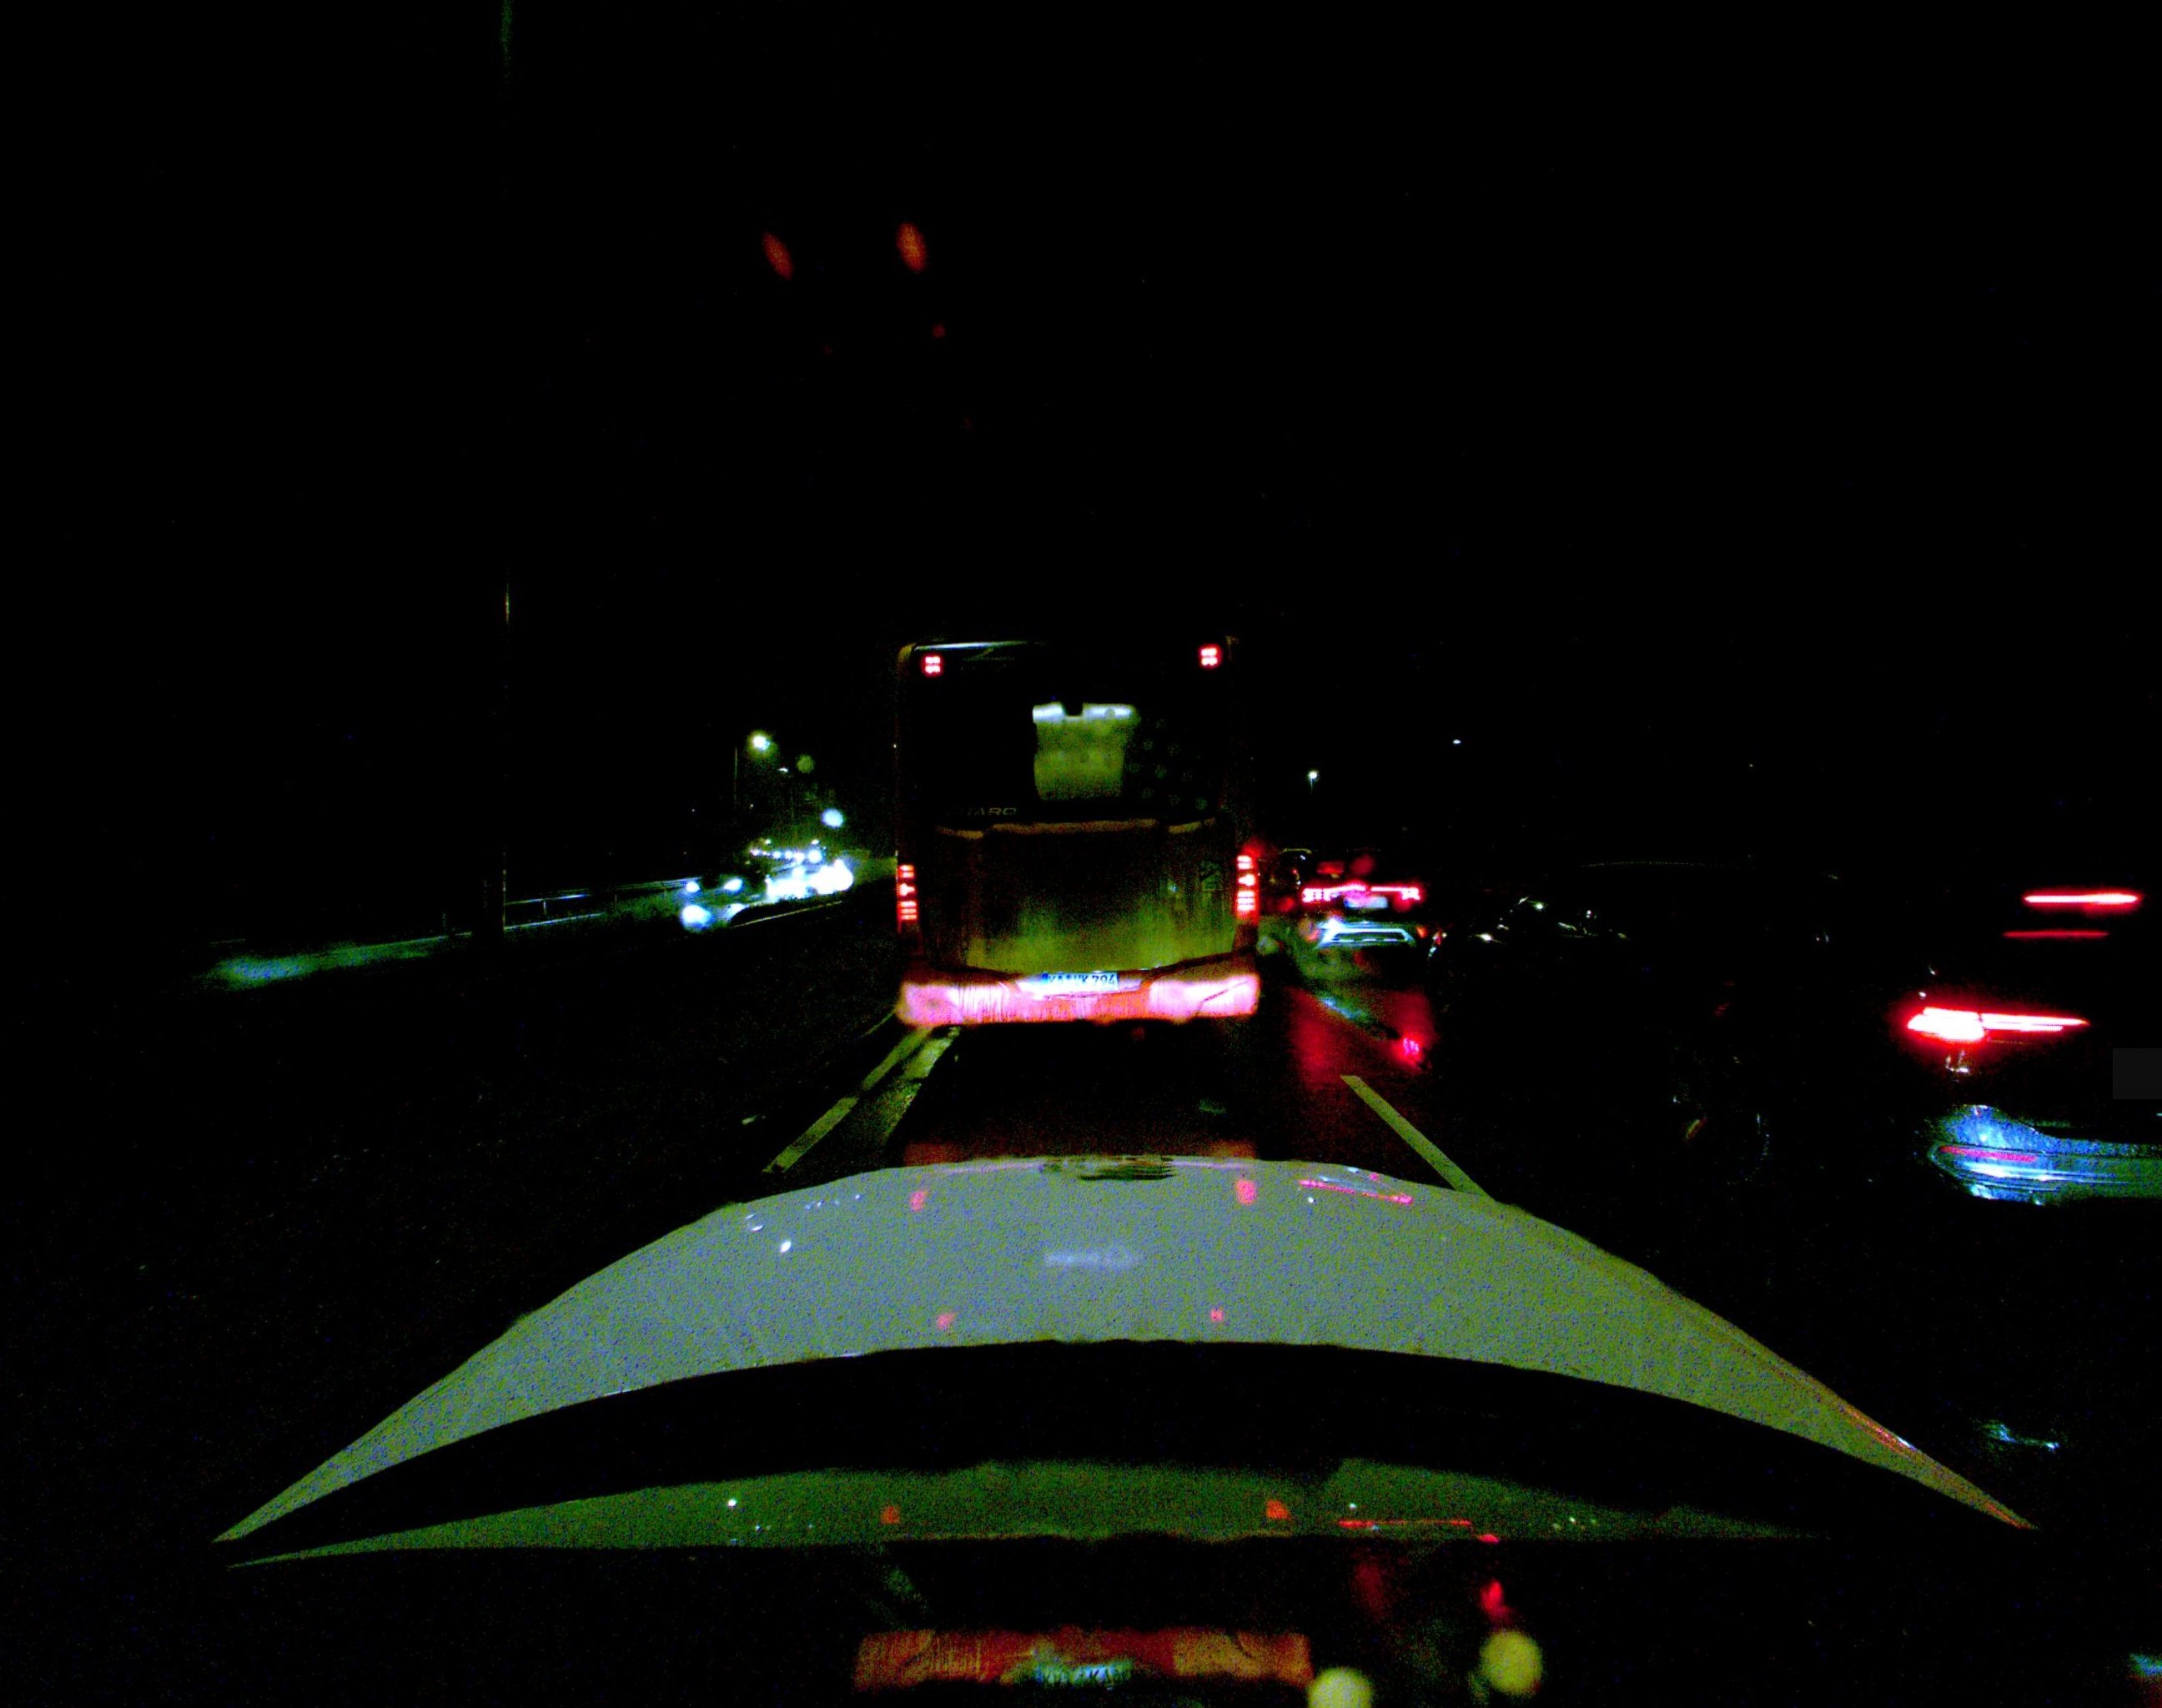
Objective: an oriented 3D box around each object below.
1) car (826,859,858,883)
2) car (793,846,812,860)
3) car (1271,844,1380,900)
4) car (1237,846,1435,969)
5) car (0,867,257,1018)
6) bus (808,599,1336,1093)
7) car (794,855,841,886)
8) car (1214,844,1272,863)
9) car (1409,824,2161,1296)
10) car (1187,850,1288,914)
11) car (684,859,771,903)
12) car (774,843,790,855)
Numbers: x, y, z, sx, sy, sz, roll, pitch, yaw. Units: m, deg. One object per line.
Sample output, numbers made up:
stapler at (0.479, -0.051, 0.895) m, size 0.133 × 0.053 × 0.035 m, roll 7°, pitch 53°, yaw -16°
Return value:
car at (-17.304, 1.199, 59.127) m, size 1.766 × 1.631 × 4.235 m, roll -1°, pitch 0°, yaw -11°
car at (-31.004, -0.123, 90.753) m, size 1.806 × 1.482 × 3.787 m, roll 0°, pitch -1°, yaw -22°
car at (7.169, 0.495, 24.360) m, size 1.986 × 1.481 × 4.339 m, roll 1°, pitch 0°, yaw 1°
car at (3.559, 0.678, 12.130) m, size 1.672 × 1.521 × 3.959 m, roll 0°, pitch -1°, yaw -1°
car at (-11.936, 0.969, 8.340) m, size 1.987 × 1.508 × 4.838 m, roll -4°, pitch 0°, yaw 0°
bus at (-0.023, -0.159, 9.949) m, size 3.274 × 3.050 × 9.544 m, roll -2°, pitch 1°, yaw 0°
car at (-14.624, 0.919, 45.426) m, size 1.869 × 1.607 × 4.234 m, roll -1°, pitch -1°, yaw -9°
car at (13.643, -0.068, 68.784) m, size 4.477 × 1.519 × 1.853 m, roll 0°, pitch 2°, yaw -6°
car at (3.668, 0.693, 4.908) m, size 1.666 × 1.506 × 4.561 m, roll 1°, pitch -1°, yaw 2°
car at (3.625, 0.608, 19.541) m, size 1.680 × 1.330 × 3.960 m, roll -2°, pitch 0°, yaw 1°
car at (-12.931, 0.931, 30.060) m, size 1.710 × 1.423 × 4.655 m, roll -1°, pitch 0°, yaw -8°
car at (-38.610, -0.585, 105.181) m, size 1.749 × 1.502 × 3.968 m, roll 0°, pitch -1°, yaw -24°
